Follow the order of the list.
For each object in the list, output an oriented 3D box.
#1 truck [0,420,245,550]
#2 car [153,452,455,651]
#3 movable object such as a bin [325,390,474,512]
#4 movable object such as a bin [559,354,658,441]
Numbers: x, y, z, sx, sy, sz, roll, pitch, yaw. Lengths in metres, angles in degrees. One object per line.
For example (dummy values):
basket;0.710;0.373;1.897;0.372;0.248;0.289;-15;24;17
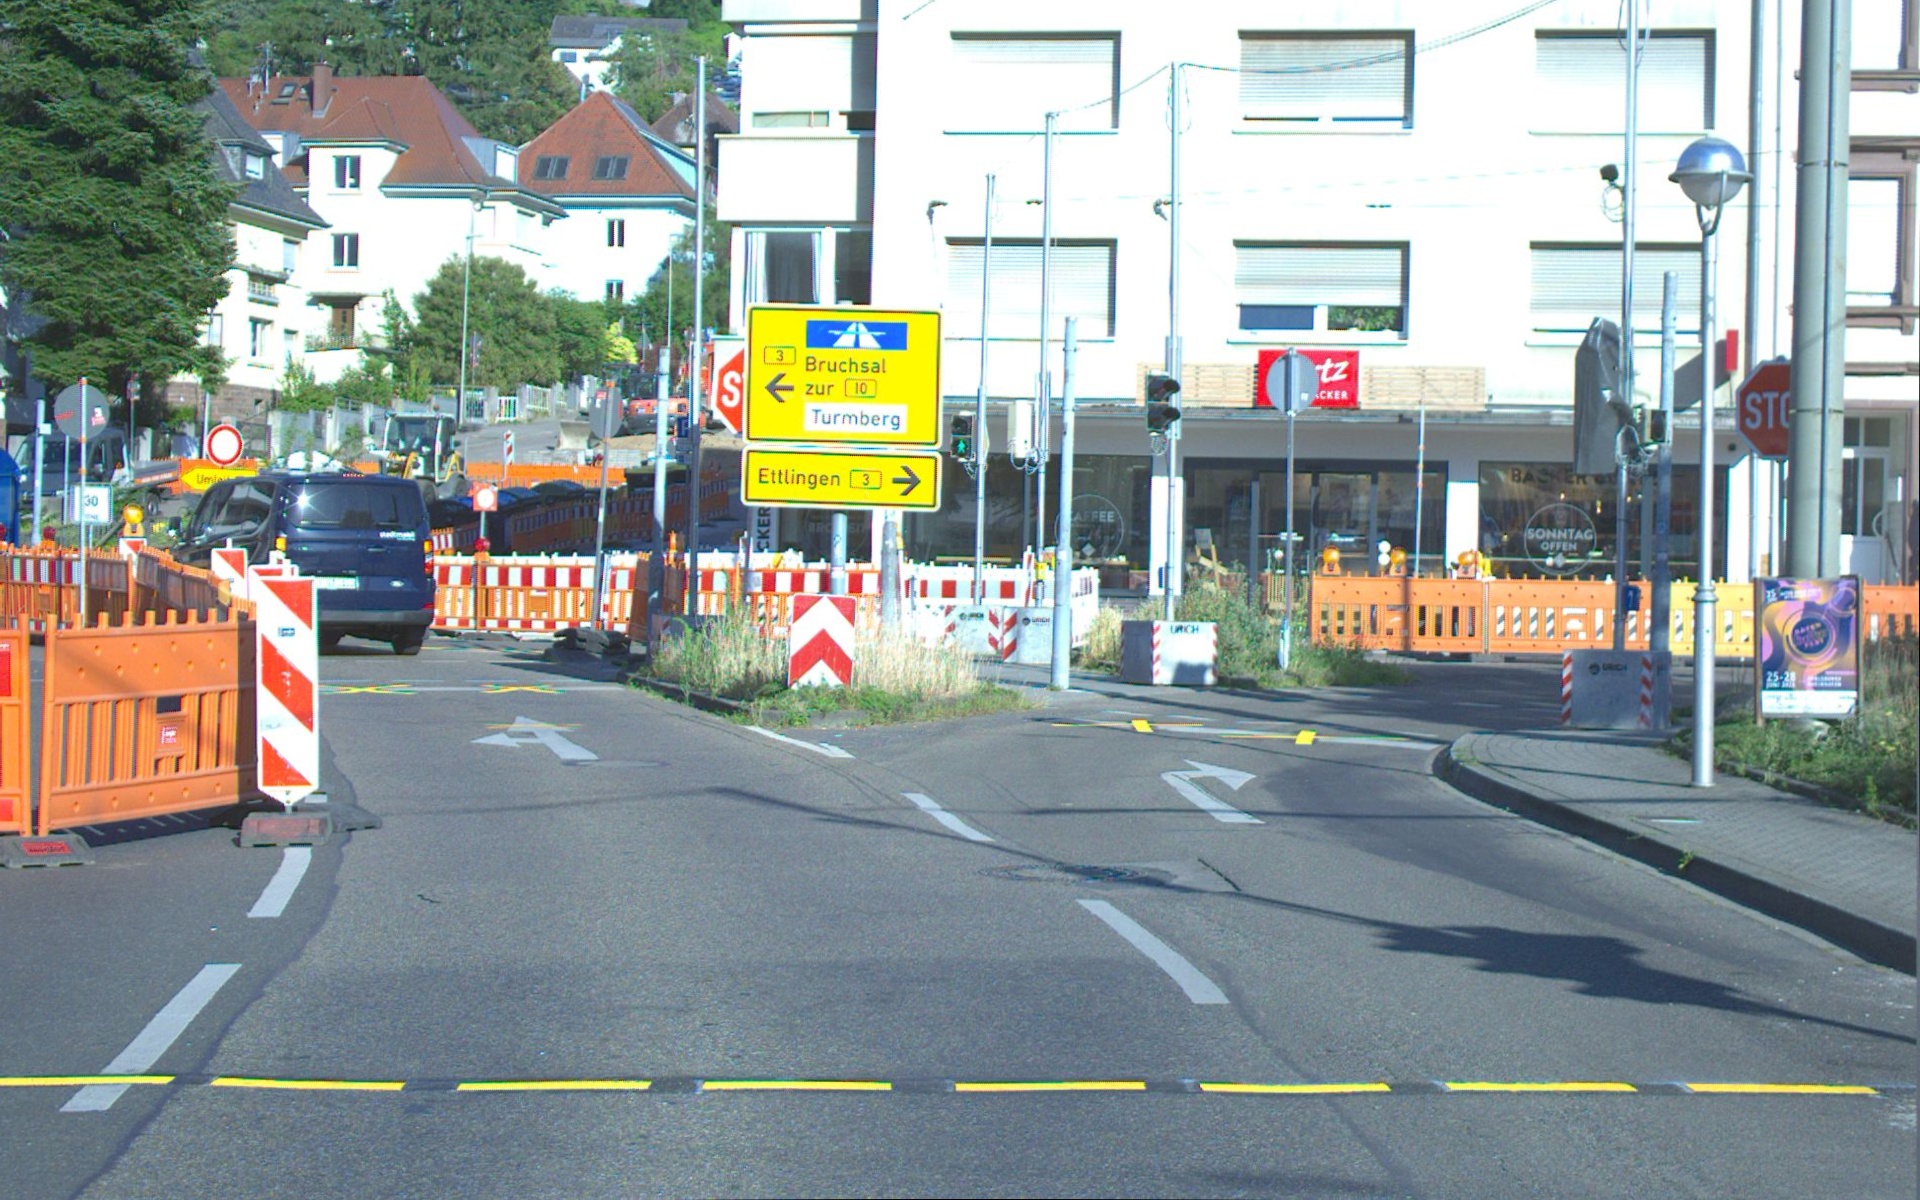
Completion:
truck;-17.270;-2.238;68.982;2.357;2.407;9.148;1;1;11
car;-7.493;-0.597;38.850;2.061;2.006;5.002;1;2;-26
movable object such as a bin;-12.962;-3.423;79.749;2.191;2.681;3.998;1;1;10
movable object such as a bin;-11.633;-6.689;114.063;2.191;2.681;3.998;1;1;10
